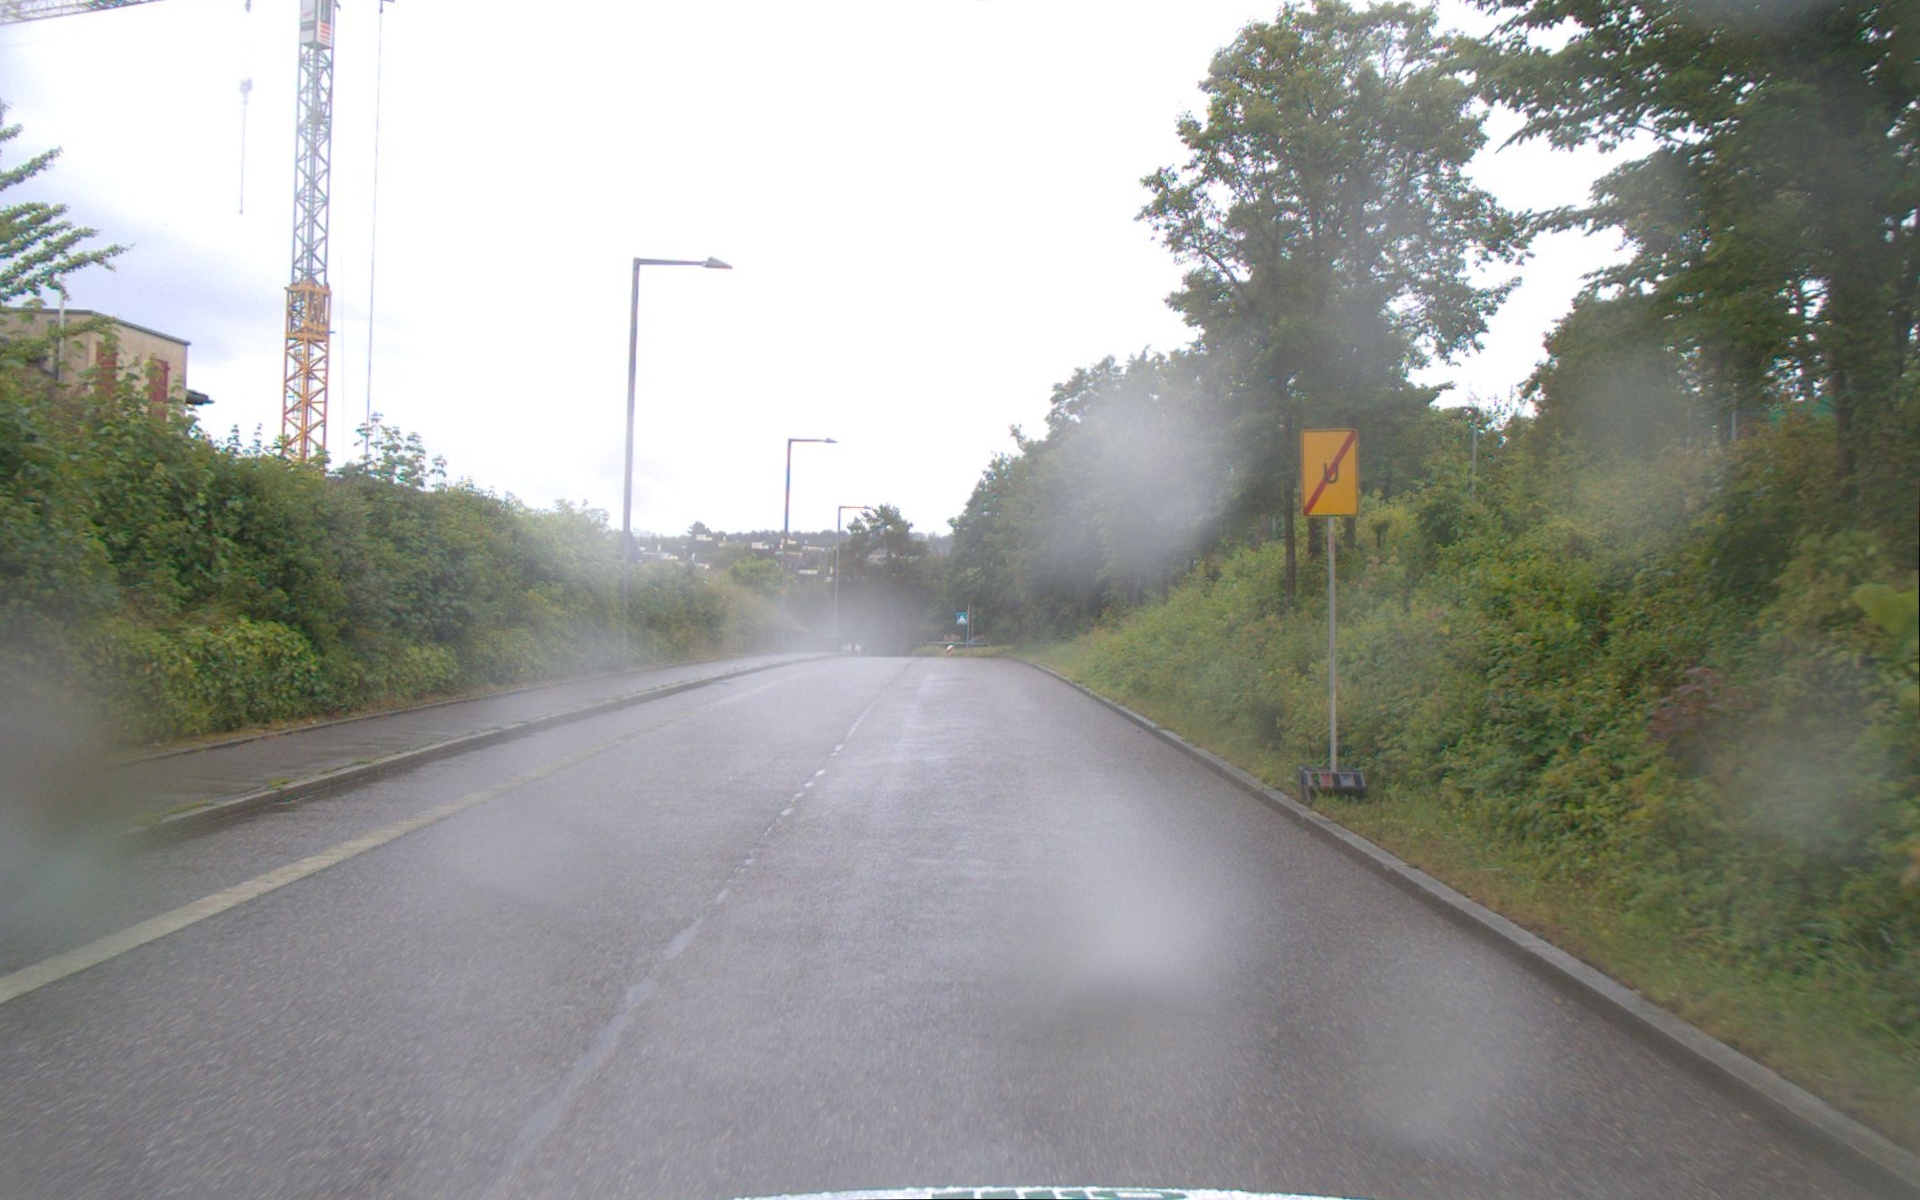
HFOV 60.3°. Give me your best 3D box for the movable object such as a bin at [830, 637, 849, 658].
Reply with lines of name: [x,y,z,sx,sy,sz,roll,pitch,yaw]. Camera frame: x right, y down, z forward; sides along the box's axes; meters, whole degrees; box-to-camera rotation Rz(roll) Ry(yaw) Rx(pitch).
movable object such as a bin: [-8.252,3.270,113.412,1.111,1.363,1.395,4,-3,-10]
